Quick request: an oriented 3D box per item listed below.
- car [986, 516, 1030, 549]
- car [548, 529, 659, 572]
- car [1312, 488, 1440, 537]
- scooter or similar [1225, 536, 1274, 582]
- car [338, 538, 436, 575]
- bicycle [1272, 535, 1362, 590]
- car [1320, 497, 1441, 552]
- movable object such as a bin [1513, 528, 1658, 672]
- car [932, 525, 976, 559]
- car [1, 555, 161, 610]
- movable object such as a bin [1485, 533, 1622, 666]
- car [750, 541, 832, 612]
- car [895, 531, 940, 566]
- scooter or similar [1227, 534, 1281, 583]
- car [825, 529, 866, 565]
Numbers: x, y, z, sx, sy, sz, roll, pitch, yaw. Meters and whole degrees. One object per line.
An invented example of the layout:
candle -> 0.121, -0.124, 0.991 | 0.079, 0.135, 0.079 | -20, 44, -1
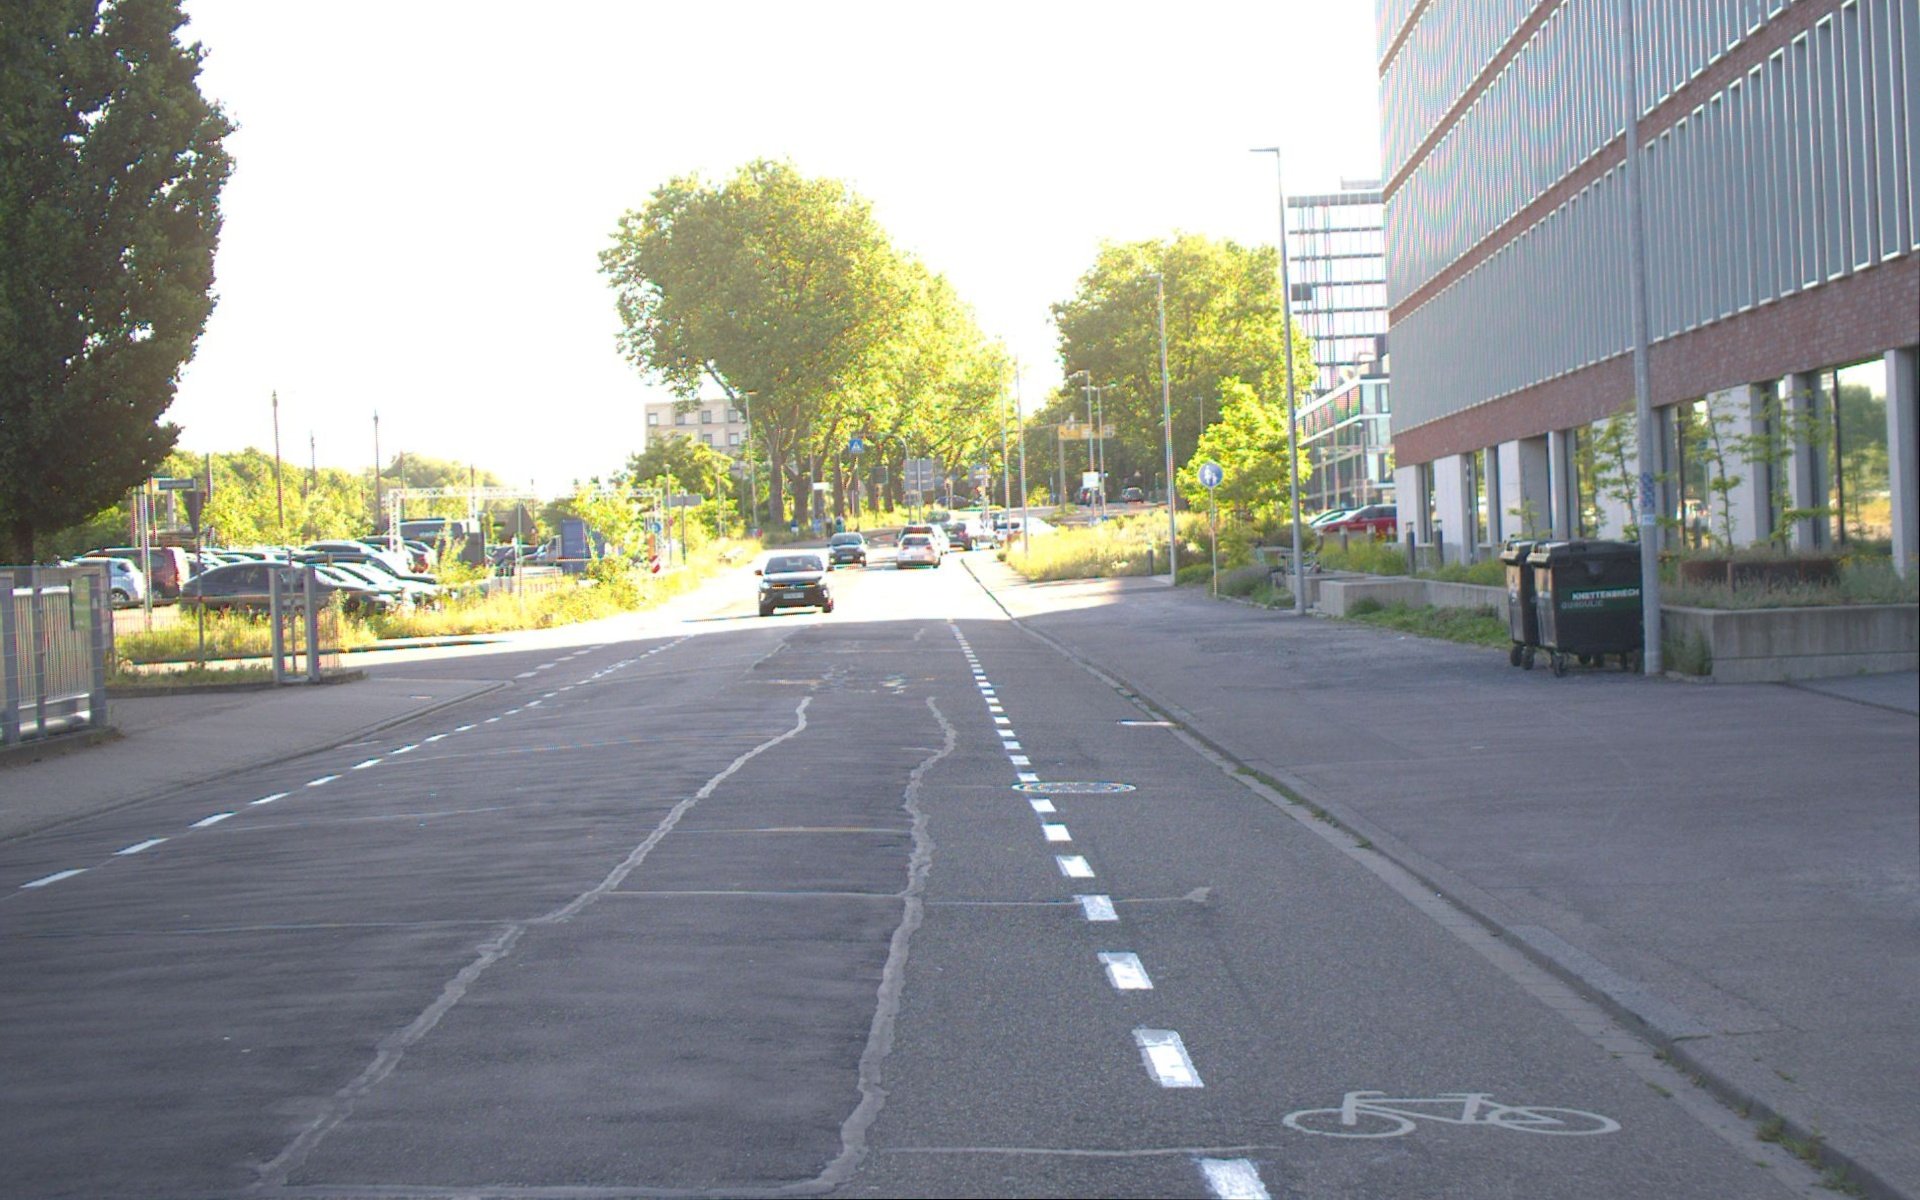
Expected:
car -> 2.523, -3.542, 180.019 | 2.164, 1.678, 4.000 | -1, 1, 2
car -> -16.301, -2.264, 157.324 | 4.845, 1.828, 2.000 | -1, 2, -1
car -> 14.220, -2.988, 117.626 | 4.184, 1.575, 1.851 | -1, 1, 3
scooter or similar -> 7.581, -1.079, 89.969 | 1.243, 1.152, 0.366 | -1, 1, 4
car -> -27.153, -2.058, 163.094 | 4.321, 1.612, 1.878 | -1, 2, -1
bicycle -> 7.964, -0.836, 76.680 | 1.931, 1.166, 0.375 | -2, 1, -6
car -> 15.208, -2.728, 124.430 | 4.184, 1.576, 1.851 | -2, -6, 3
movable object such as a bin -> 6.228, -0.008, 34.293 | 1.128, 1.367, 1.345 | -2, 1, -1
car -> -0.286, -2.945, 174.753 | 2.163, 1.678, 4.000 | -2, 1, 1
car -> -26.851, -0.548, 105.095 | 4.367, 1.540, 1.857 | -1, 2, 0
movable object such as a bin -> 6.204, -0.019, 35.983 | 1.128, 1.331, 1.345 | -2, 1, -1
car -> -4.100, -0.596, 83.911 | 1.740, 1.520, 4.112 | -6, 1, -1
car -> -1.799, -2.208, 145.632 | 1.790, 1.415, 4.000 | -2, 1, 1
scooter or similar -> 7.557, -1.068, 88.411 | 1.340, 1.241, 0.423 | -1, 1, 4
car -> -5.100, -2.371, 153.375 | 1.654, 1.498, 4.000 | -3, 1, 0
